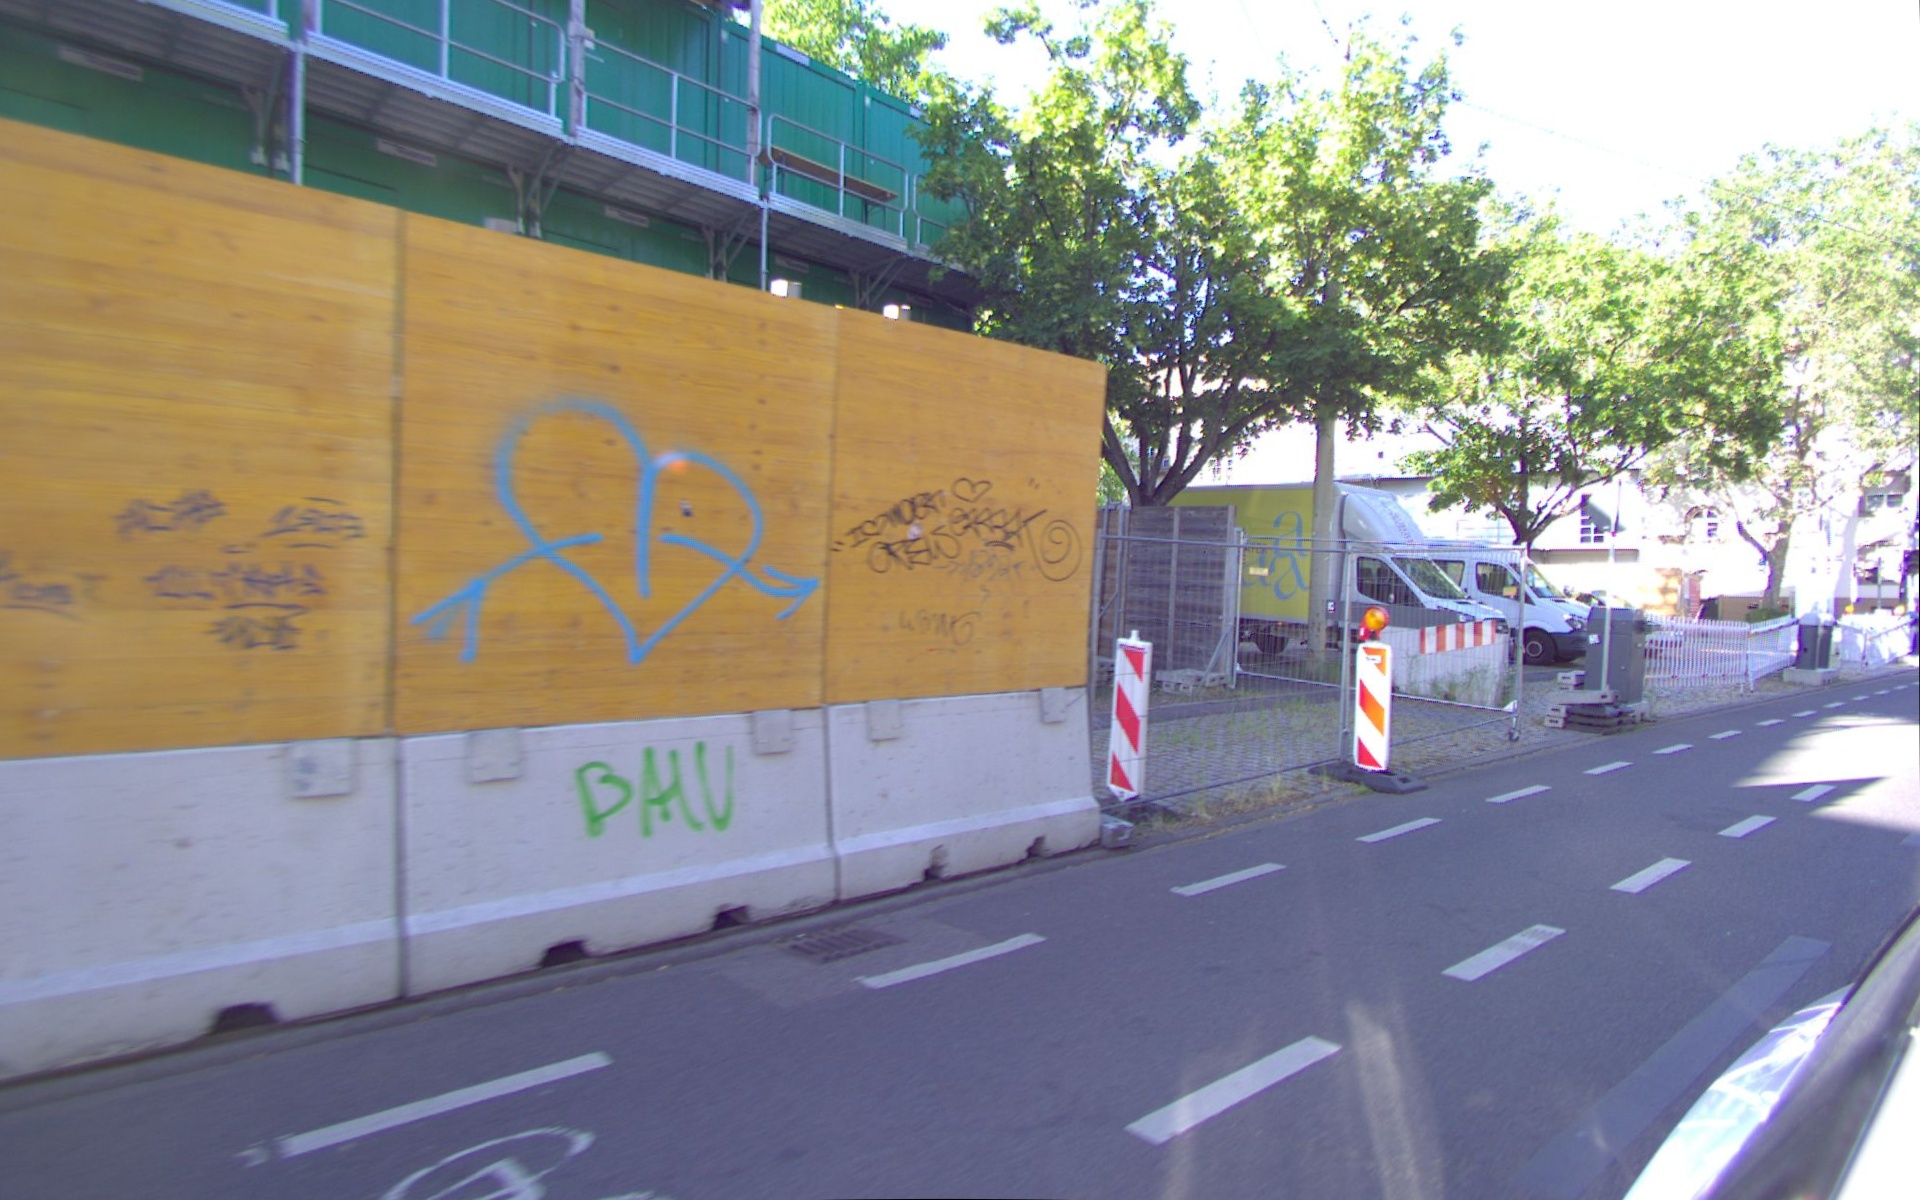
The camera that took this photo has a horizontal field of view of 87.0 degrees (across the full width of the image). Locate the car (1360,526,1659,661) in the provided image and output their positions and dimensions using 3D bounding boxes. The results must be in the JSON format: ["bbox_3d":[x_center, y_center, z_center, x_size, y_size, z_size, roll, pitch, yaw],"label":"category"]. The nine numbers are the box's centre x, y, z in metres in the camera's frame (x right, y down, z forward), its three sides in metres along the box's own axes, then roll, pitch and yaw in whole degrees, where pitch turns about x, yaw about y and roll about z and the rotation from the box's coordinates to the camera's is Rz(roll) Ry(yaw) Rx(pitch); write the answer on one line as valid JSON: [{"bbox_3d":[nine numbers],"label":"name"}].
[{"bbox_3d":[11.783,-0.245,22.100,1.978,2.594,5.335,0,2,-39],"label":"car"}]

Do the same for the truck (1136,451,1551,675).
[{"bbox_3d":[6.844,-0.718,19.167,2.329,3.460,7.092,0,2,-39],"label":"truck"}]

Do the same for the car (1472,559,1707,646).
[{"bbox_3d":[16.212,0.000,26.326,1.962,2.035,4.800,0,1,-34],"label":"car"}]
